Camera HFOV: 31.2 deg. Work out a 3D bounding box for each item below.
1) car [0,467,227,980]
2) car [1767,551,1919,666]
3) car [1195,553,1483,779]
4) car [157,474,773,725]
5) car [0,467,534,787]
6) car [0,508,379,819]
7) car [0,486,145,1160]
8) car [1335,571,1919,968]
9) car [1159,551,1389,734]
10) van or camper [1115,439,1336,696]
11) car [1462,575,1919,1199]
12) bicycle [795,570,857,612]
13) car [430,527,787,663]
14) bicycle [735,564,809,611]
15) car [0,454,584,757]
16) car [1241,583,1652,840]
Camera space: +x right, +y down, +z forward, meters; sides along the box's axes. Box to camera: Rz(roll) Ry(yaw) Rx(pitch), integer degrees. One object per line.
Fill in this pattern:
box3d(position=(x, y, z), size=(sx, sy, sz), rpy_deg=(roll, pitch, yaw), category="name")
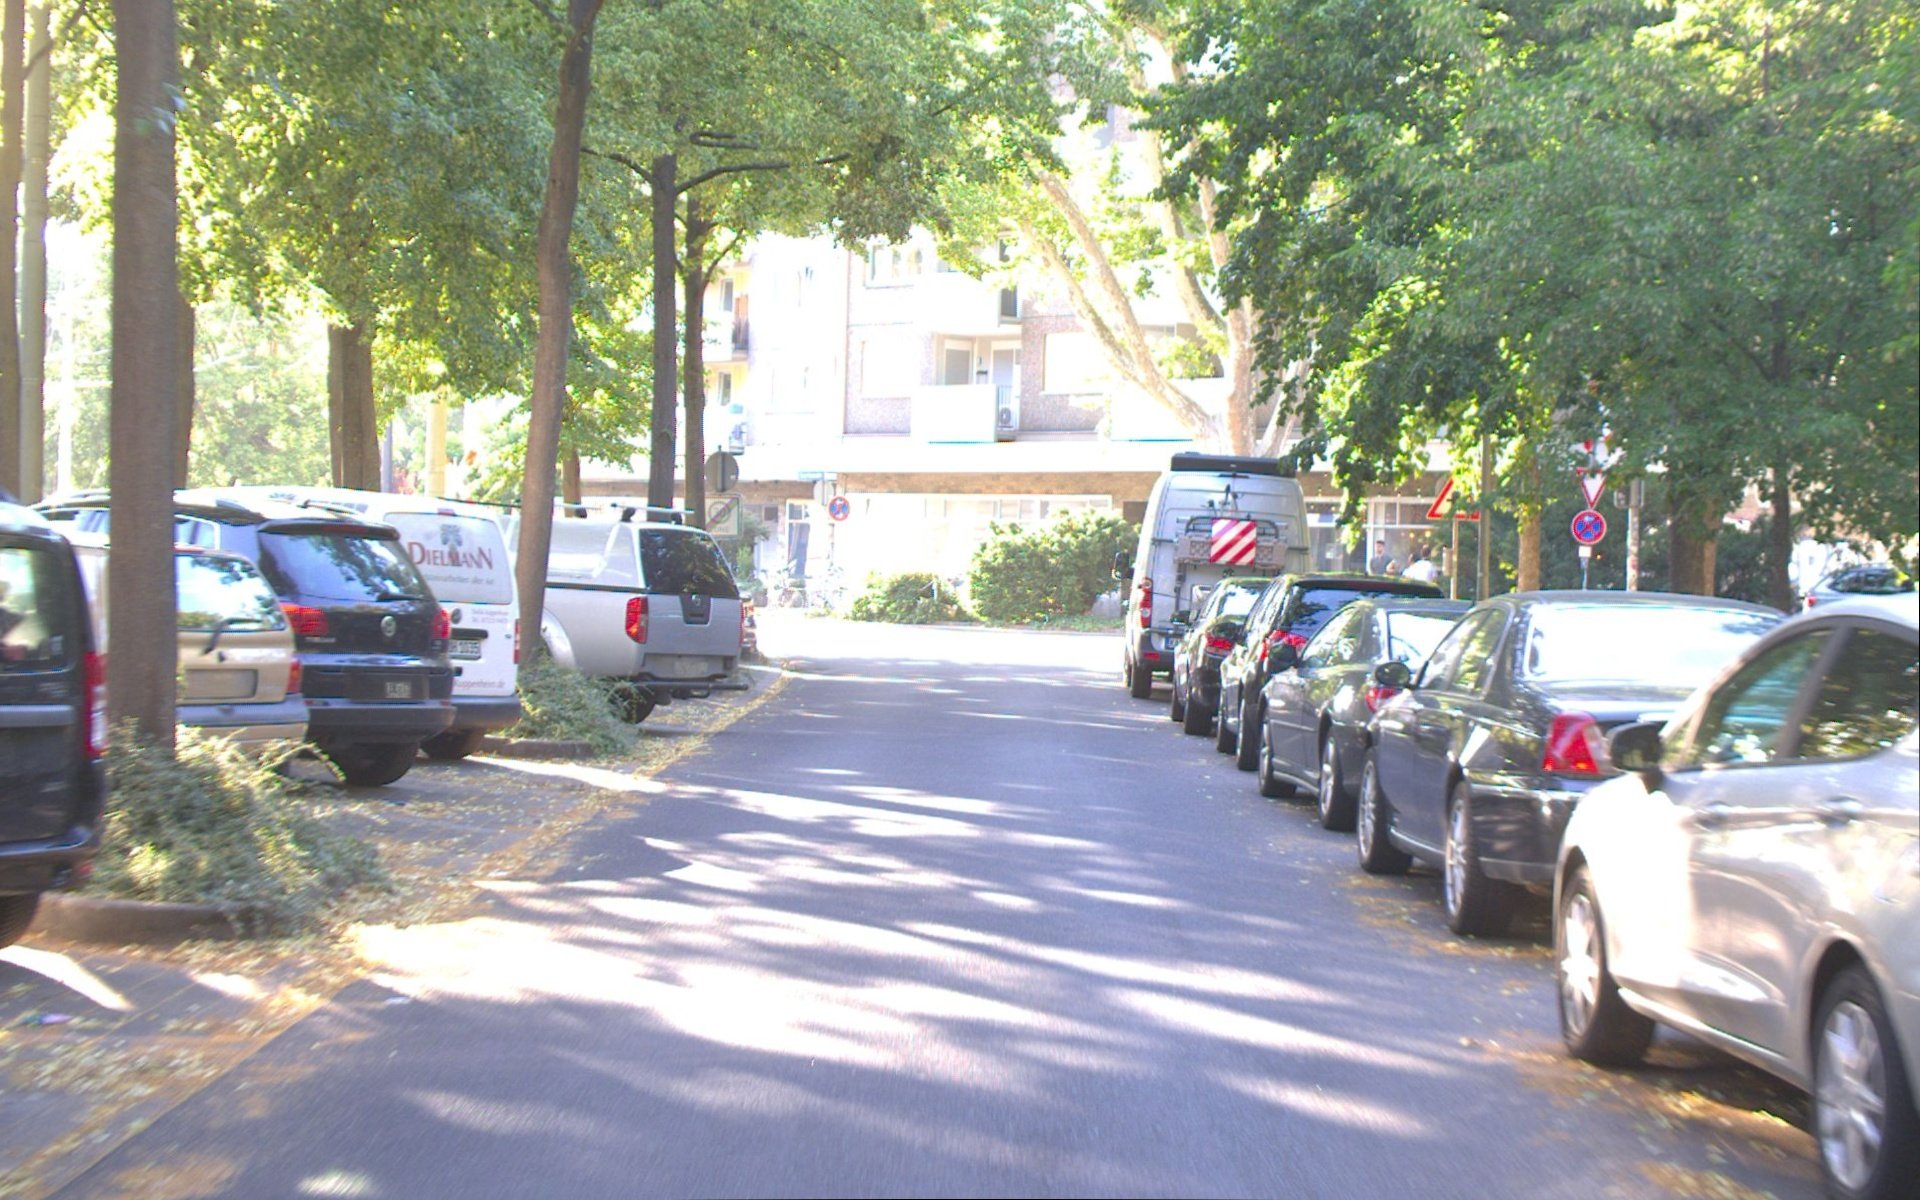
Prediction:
box3d(position=(-4.949, 0.232, 11.898), size=(4.512, 1.611, 1.851), rpy_deg=(5, 1, 29), category="car")
box3d(position=(13.958, 0.163, 49.386), size=(1.737, 1.547, 4.274), rpy_deg=(5, -2, -44), category="car")
box3d(position=(2.787, 0.430, 26.097), size=(1.680, 1.520, 4.287), rpy_deg=(2, 1, 0), category="car")
box3d(position=(-4.349, -0.022, 30.019), size=(4.994, 1.775, 1.984), rpy_deg=(5, 1, 27), category="car")
box3d(position=(-4.868, 0.092, 20.796), size=(4.155, 1.638, 1.911), rpy_deg=(5, 1, 31), category="car")
box3d(position=(-5.022, 0.241, 18.062), size=(3.423, 1.421, 1.831), rpy_deg=(5, 1, 30), category="car")
box3d(position=(-4.537, 0.363, 8.589), size=(4.511, 1.611, 1.932), rpy_deg=(5, 1, 23), category="car")
box3d(position=(2.797, 0.621, 15.316), size=(1.680, 1.419, 4.659), rpy_deg=(2, 1, 0), category="car")
box3d(position=(2.828, 0.335, 31.777), size=(1.680, 1.520, 4.489), rpy_deg=(2, 1, 0), category="car")
box3d(position=(3.030, -0.397, 40.455), size=(2.084, 2.753, 5.845), rpy_deg=(2, 1, 0), category="van or camper")
box3d(position=(2.673, 0.703, 9.198), size=(1.680, 1.449, 4.077), rpy_deg=(2, 1, -5), category="car")
box3d(position=(-3.031, -0.204, 77.598), size=(0.542, 0.901, 1.736), rpy_deg=(1, 1, -35), category="bicycle")
box3d(position=(-4.582, -0.068, 44.780), size=(4.193, 1.434, 1.829), rpy_deg=(5, 1, 25), category="car")
box3d(position=(-4.353, -0.292, 79.463), size=(0.638, 1.019, 2.088), rpy_deg=(1, 1, -37), category="bicycle")
box3d(position=(-4.869, 0.010, 24.008), size=(4.156, 1.775, 1.880), rpy_deg=(5, 1, 36), category="car")
box3d(position=(2.776, 0.588, 20.529), size=(1.680, 1.279, 4.288), rpy_deg=(2, 1, -2), category="car")
